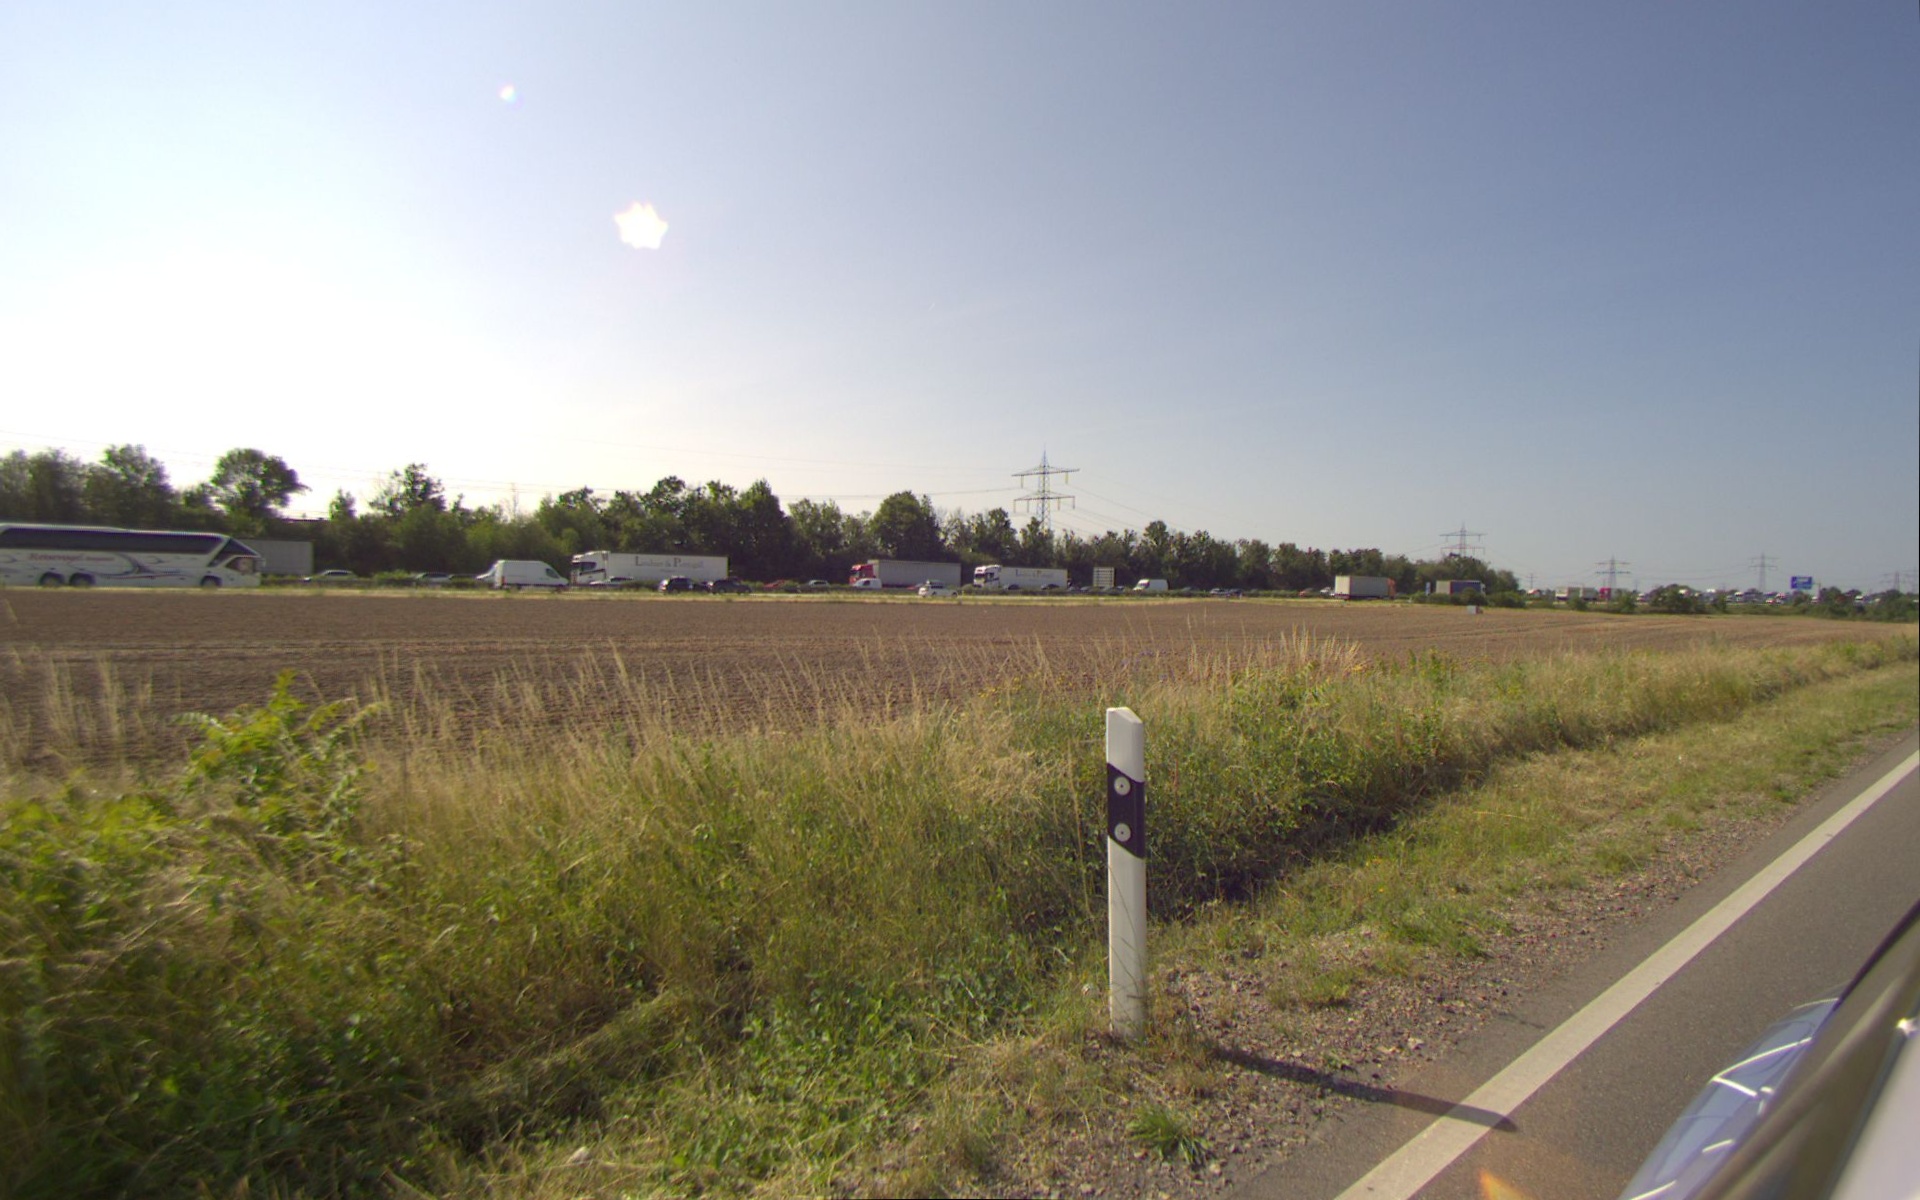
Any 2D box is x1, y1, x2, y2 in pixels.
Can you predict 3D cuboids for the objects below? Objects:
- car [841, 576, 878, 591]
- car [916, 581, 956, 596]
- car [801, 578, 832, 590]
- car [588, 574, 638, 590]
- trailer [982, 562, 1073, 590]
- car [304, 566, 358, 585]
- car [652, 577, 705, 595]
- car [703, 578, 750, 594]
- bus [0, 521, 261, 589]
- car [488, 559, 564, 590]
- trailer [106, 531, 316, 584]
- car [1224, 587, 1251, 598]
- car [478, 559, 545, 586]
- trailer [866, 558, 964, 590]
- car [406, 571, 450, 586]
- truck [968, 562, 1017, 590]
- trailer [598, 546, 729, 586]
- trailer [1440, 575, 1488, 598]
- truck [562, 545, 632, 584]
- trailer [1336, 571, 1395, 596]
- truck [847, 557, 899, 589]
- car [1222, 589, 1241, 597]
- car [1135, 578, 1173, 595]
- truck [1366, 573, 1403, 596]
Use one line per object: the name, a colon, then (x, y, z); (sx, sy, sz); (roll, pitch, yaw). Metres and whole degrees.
car: (-11.514, -1.865, 115.911); (4.023, 1.659, 1.705); (0, -1, -42)
car: (-2.516, -1.241, 107.753); (4.123, 1.563, 1.706); (0, -1, -41)
car: (-15.843, -1.756, 112.176); (3.236, 1.300, 1.342); (0, -1, -43)
car: (-33.492, -1.737, 97.701); (4.173, 1.403, 1.853); (1, -1, -41)
trailer: (9.668, -3.266, 142.368); (14.821, 3.575, 3.208); (0, 2, -42)
car: (-50.792, -1.941, 81.724); (3.540, 1.403, 1.494); (1, -1, -41)
car: (-24.530, -1.235, 88.330); (4.135, 1.492, 1.706); (0, -1, -40)
car: (-22.192, -1.321, 96.175); (4.021, 1.391, 1.706); (0, 0, -40)
bus: (-54.119, -2.766, 65.541); (14.301, 3.851, 2.465); (1, 0, -43)
car: (-36.043, -2.080, 84.151); (5.425, 2.402, 1.997); (0, -1, -41)
trailer: (-59.998, -3.271, 81.570); (13.386, 3.780, 3.078); (0, 1, -40)
car: (39.543, -1.098, 144.058); (4.123, 1.563, 1.706); (0, -1, -41)
car: (-40.209, -2.467, 90.745); (5.146, 2.228, 1.908); (1, -1, -41)
trailer: (-5.605, -3.283, 129.161); (13.541, 3.780, 2.950); (0, 0, -41)
car: (-45.185, -1.836, 85.969); (3.126, 1.166, 1.397); (1, -1, -41)
truck: (4.441, -3.296, 137.761); (6.003, 3.575, 3.208); (0, 2, -41)
trailer: (-31.074, -3.502, 106.786); (13.128, 3.780, 3.078); (0, 1, -40)
trailer: (94.915, -2.550, 190.460); (14.341, 3.851, 3.076); (2, -1, -42)
truck: (-36.599, -3.523, 102.088); (6.008, 3.780, 3.078); (0, 0, -40)
trailer: (67.223, -2.629, 167.672); (13.475, 3.897, 3.109); (0, 0, -40)
truck: (-10.725, -3.310, 124.746); (5.767, 3.780, 2.951); (0, 0, -41)
car: (43.741, -1.073, 163.028); (3.233, 1.300, 1.343); (0, -1, -39)
car: (29.297, -2.015, 152.759); (6.299, 2.478, 2.041); (0, 0, -40)
truck: (72.063, -2.600, 171.824); (6.827, 3.898, 3.109); (1, 0, -40)
